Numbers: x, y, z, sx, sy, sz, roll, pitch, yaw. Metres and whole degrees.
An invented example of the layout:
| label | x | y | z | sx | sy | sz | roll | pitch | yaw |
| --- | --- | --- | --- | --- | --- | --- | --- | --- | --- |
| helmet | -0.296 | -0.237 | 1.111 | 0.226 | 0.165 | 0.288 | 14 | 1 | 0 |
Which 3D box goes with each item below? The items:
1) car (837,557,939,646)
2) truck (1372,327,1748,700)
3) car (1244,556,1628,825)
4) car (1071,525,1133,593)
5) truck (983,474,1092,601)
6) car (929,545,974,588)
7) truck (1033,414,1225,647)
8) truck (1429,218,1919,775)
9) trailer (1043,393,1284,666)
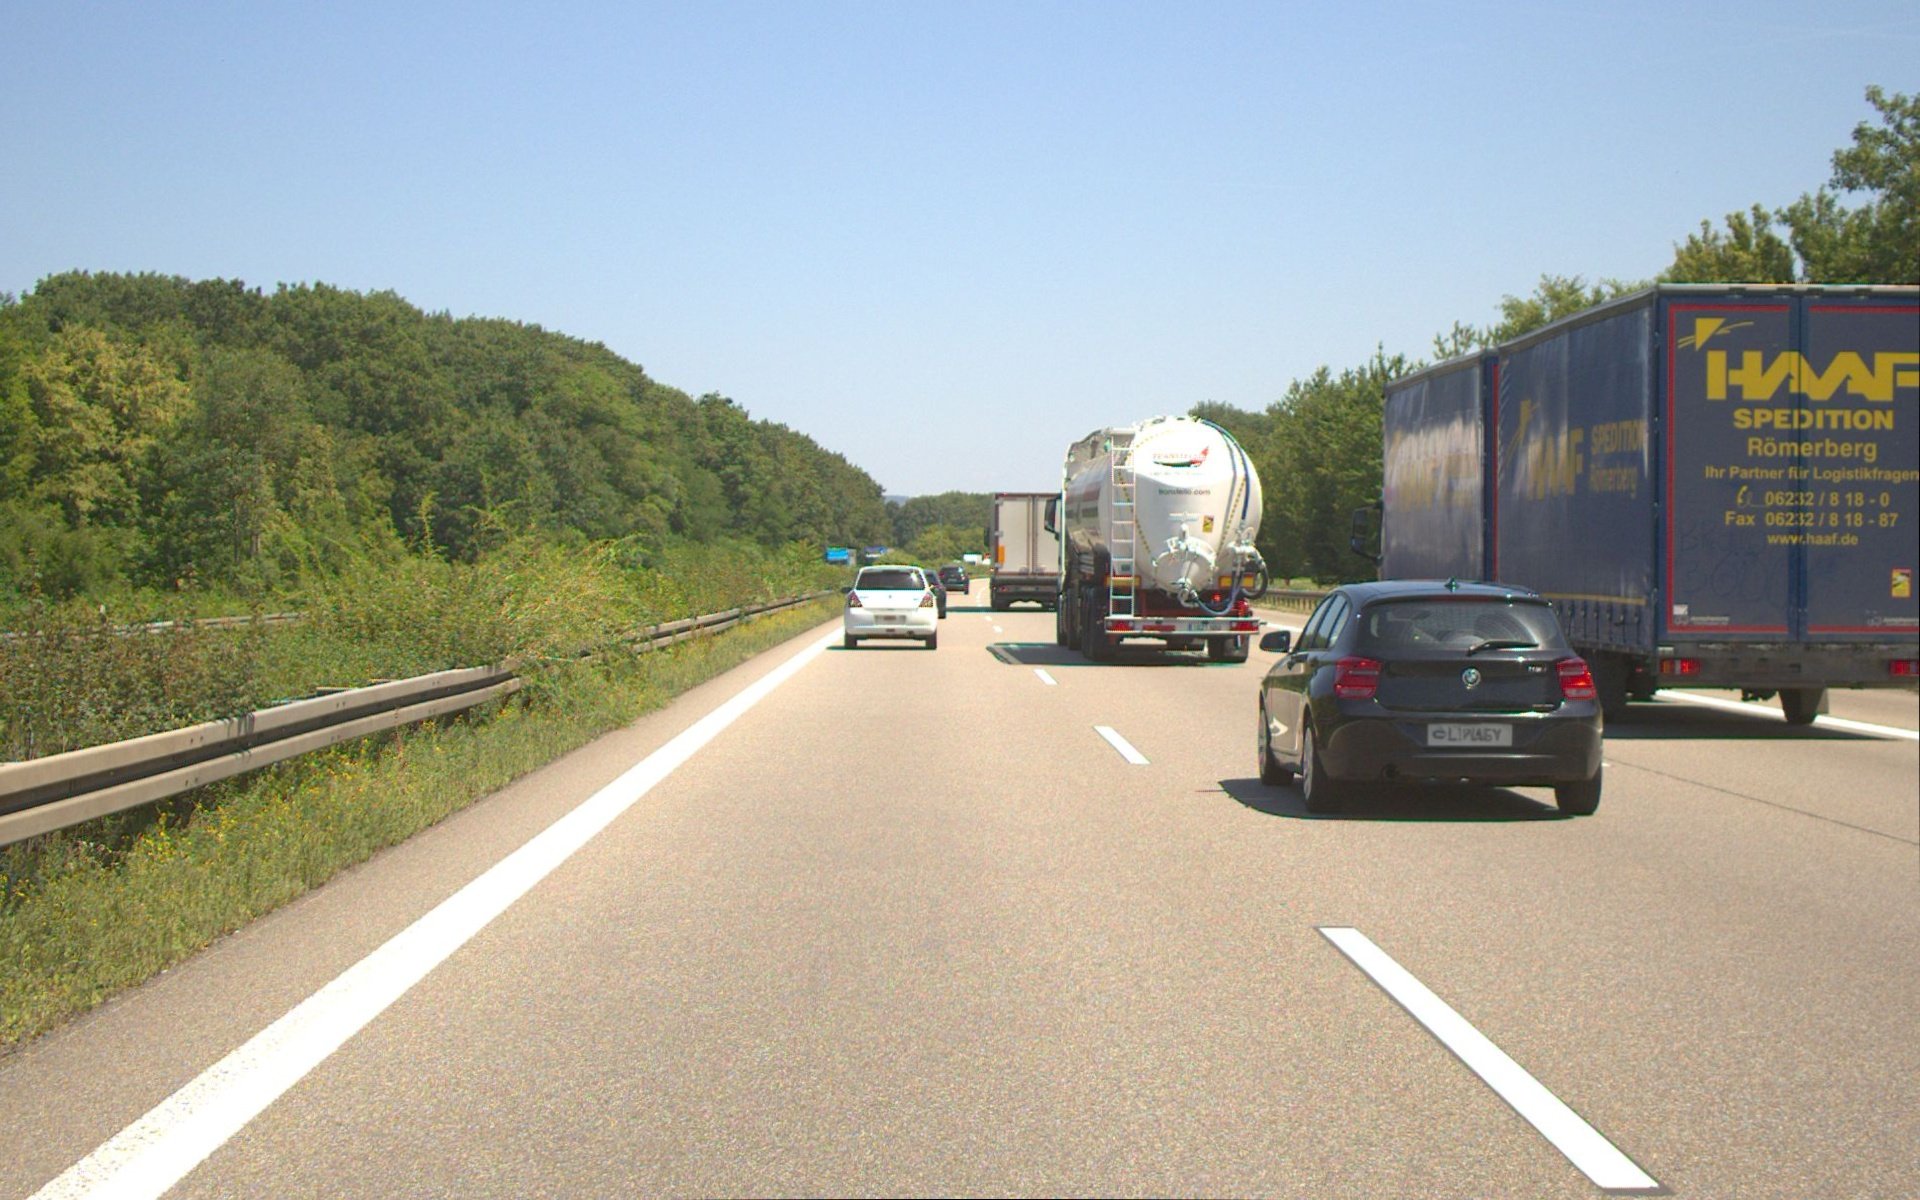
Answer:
| label | x | y | z | sx | sy | sz | roll | pitch | yaw |
| --- | --- | --- | --- | --- | --- | --- | --- | --- | --- |
| car | -1.348 | 0.008 | 62.988 | 1.799 | 1.546 | 3.610 | 1 | 1 | -2 |
| truck | 7.195 | -1.028 | 42.492 | 3.109 | 4.124 | 8.056 | 1 | 1 | 0 |
| car | 2.916 | 0.497 | 21.843 | 1.850 | 1.518 | 3.957 | 1 | 1 | 0 |
| car | 6.842 | -1.980 | 166.394 | 2.669 | 3.179 | 5.567 | 1 | 1 | 0 |
| truck | 2.634 | -2.179 | 120.841 | 3.394 | 4.199 | 12.084 | 1 | 1 | 0 |
| car | -0.487 | -1.872 | 191.391 | 2.475 | 2.346 | 5.182 | 1 | 1 | 0 |
| truck | 3.045 | -1.278 | 64.075 | 2.911 | 4.065 | 7.196 | 1 | 1 | -2 |
| truck | 7.268 | -0.882 | 33.393 | 3.109 | 4.124 | 15.512 | 1 | 1 | 0 |
| trailer | 3.210 | -1.162 | 57.855 | 2.911 | 4.055 | 12.419 | 1 | 1 | -2 |
